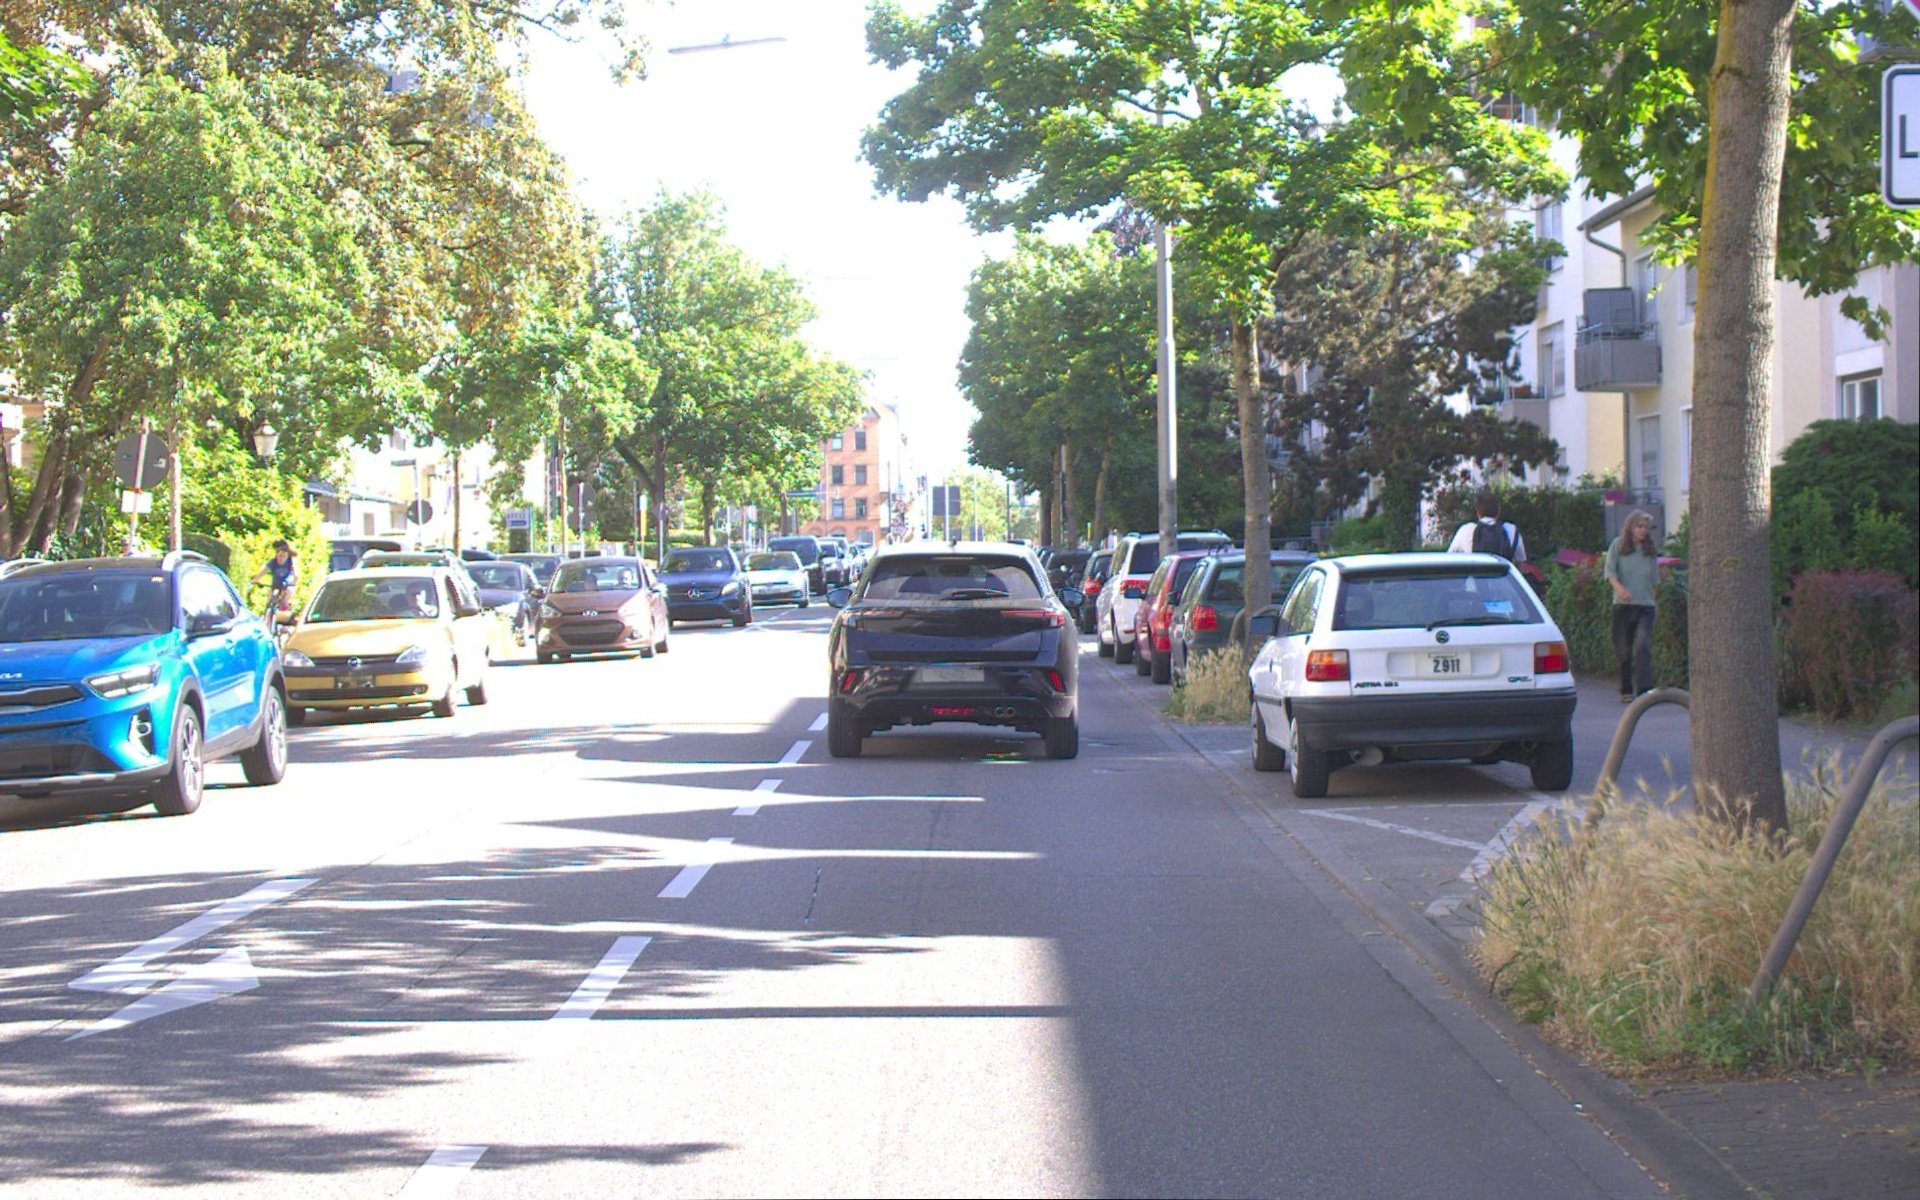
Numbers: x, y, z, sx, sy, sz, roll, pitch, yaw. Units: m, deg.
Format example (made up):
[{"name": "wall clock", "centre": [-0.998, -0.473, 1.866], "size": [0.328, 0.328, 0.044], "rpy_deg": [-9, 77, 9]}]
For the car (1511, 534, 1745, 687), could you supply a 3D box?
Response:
[{"name": "car", "centre": [6.560, 0.064, 34.099], "size": [1.532, 1.351, 3.718], "rpy_deg": [-3, 1, 0]}]

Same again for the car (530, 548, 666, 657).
[{"name": "car", "centre": [-5.197, 0.006, 49.705], "size": [1.581, 1.446, 3.745], "rpy_deg": [-2, 1, -1]}]

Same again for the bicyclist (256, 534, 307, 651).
[{"name": "bicyclist", "centre": [-10.253, -0.122, 51.989], "size": [0.608, 1.748, 0.691], "rpy_deg": [-1, 1, 0]}]

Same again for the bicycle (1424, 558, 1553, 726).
[{"name": "bicycle", "centre": [4.120, 0.307, 26.918], "size": [0.698, 1.242, 1.822], "rpy_deg": [-2, 1, 0]}]

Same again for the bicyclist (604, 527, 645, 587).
[{"name": "bicyclist", "centre": [-10.337, -1.313, 105.831], "size": [1.051, 1.818, 0.661], "rpy_deg": [-1, 1, -30]}]

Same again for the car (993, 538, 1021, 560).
[{"name": "car", "centre": [3.510, -3.774, 256.024], "size": [1.993, 1.514, 4.000], "rpy_deg": [2, 1, 2]}]

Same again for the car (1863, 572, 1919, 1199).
[{"name": "car", "centre": [2.530, 0.677, 4.698], "size": [1.567, 1.452, 3.865], "rpy_deg": [-2, 1, 1]}]

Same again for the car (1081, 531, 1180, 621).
[{"name": "car", "centre": [2.962, -0.443, 60.327], "size": [1.620, 1.494, 3.649], "rpy_deg": [-1, 1, 2]}]

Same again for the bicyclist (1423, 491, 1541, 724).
[{"name": "bicyclist", "centre": [4.105, 0.050, 27.095], "size": [0.724, 1.787, 1.016], "rpy_deg": [-2, 1, 0]}]

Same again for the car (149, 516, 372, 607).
[{"name": "car", "centre": [-14.820, -0.832, 72.888], "size": [4.314, 1.872, 1.880], "rpy_deg": [0, 1, -25]}]

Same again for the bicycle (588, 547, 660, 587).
[{"name": "bicycle", "centre": [-10.345, -1.025, 105.818], "size": [2.185, 1.188, 0.449], "rpy_deg": [-1, 1, -30]}]

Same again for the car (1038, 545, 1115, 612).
[{"name": "car", "centre": [2.571, -0.501, 76.721], "size": [1.586, 1.391, 4.454], "rpy_deg": [-2, 1, 1]}]

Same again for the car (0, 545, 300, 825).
[{"name": "car", "centre": [-5.329, 0.464, 21.175], "size": [1.655, 1.512, 4.076], "rpy_deg": [-3, 1, 0]}]

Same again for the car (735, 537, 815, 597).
[{"name": "car", "centre": [-4.659, -0.850, 87.173], "size": [1.733, 1.407, 4.192], "rpy_deg": [-3, 1, 0]}]

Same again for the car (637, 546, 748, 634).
[{"name": "car", "centre": [-5.312, -0.237, 68.714], "size": [1.836, 1.608, 4.401], "rpy_deg": [-3, 1, 0]}]

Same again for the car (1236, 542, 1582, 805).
[{"name": "car", "centre": [2.671, 0.381, 21.232], "size": [1.649, 1.398, 3.970], "rpy_deg": [-2, 1, 1]}]

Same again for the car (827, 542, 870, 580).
[{"name": "car", "centre": [-5.049, -1.790, 156.248], "size": [1.806, 1.642, 4.673], "rpy_deg": [-3, 1, -1]}]

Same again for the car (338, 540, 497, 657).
[{"name": "car", "centre": [-7.747, -0.060, 49.390], "size": [1.624, 1.583, 4.348], "rpy_deg": [1, 1, -1]}]

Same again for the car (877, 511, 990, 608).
[{"name": "car", "centre": [-0.422, -0.703, 58.651], "size": [1.830, 1.573, 3.839], "rpy_deg": [-1, 1, 1]}]

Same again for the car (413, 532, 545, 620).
[{"name": "car", "centre": [-8.156, -0.430, 58.563], "size": [1.637, 1.412, 4.090], "rpy_deg": [1, 1, 0]}]

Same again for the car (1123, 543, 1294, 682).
[{"name": "car", "centre": [2.713, 0.100, 38.181], "size": [1.531, 1.444, 3.718], "rpy_deg": [-1, 1, -1]}]

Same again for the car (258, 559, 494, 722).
[{"name": "car", "centre": [-5.546, 0.343, 33.018], "size": [1.634, 1.398, 3.736], "rpy_deg": [-3, 1, -1]}]

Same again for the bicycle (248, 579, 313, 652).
[{"name": "bicycle", "centre": [-10.265, 0.223, 51.994], "size": [0.608, 1.069, 1.743], "rpy_deg": [-1, 1, 0]}]

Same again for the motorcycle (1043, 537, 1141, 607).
[{"name": "motorcycle", "centre": [2.488, -0.527, 65.048], "size": [0.697, 1.267, 2.432], "rpy_deg": [-3, 1, -27]}]

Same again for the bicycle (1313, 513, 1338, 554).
[{"name": "bicycle", "centre": [11.871, -2.162, 111.748], "size": [0.591, 1.283, 1.689], "rpy_deg": [-3, 1, 1]}]

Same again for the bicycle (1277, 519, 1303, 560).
[{"name": "bicycle", "centre": [10.777, -1.980, 112.235], "size": [0.623, 1.283, 1.842], "rpy_deg": [-3, 1, 1]}]

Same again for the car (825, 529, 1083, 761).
[{"name": "car", "centre": [-0.042, 0.284, 25.344], "size": [1.745, 1.568, 3.558], "rpy_deg": [1, 1, 0]}]

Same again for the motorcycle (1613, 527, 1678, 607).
[{"name": "motorcycle", "centre": [12.100, -0.589, 60.735], "size": [0.636, 1.371, 2.426], "rpy_deg": [-1, 1, 0]}]

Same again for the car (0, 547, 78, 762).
[{"name": "car", "centre": [-7.973, 0.400, 25.695], "size": [1.670, 1.599, 4.394], "rpy_deg": [0, 1, -1]}]

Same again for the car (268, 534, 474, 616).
[{"name": "car", "centre": [-12.189, -0.535, 71.154], "size": [3.907, 1.639, 1.681], "rpy_deg": [0, 1, -24]}]

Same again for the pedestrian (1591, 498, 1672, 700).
[{"name": "pedestrian", "centre": [5.645, -0.013, 28.920], "size": [0.538, 1.671, 0.493], "rpy_deg": [-2, 1, 0]}]

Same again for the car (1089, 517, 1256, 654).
[{"name": "car", "centre": [2.717, -0.215, 44.825], "size": [1.768, 1.653, 4.341], "rpy_deg": [-2, 1, -1]}]

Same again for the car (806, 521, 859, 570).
[{"name": "car", "centre": [-4.811, -2.041, 130.090], "size": [1.815, 1.737, 4.493], "rpy_deg": [-3, 1, 0]}]

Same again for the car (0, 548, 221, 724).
[{"name": "car", "centre": [-7.958, 0.275, 31.056], "size": [1.601, 1.472, 3.931], "rpy_deg": [0, 1, 2]}]

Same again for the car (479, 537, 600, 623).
[{"name": "car", "centre": [-7.808, -0.401, 64.172], "size": [1.678, 1.549, 4.007], "rpy_deg": [0, 1, 1]}]

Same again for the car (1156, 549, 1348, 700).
[{"name": "car", "centre": [2.791, 0.195, 33.489], "size": [1.532, 1.351, 3.718], "rpy_deg": [-1, 1, 0]}]
